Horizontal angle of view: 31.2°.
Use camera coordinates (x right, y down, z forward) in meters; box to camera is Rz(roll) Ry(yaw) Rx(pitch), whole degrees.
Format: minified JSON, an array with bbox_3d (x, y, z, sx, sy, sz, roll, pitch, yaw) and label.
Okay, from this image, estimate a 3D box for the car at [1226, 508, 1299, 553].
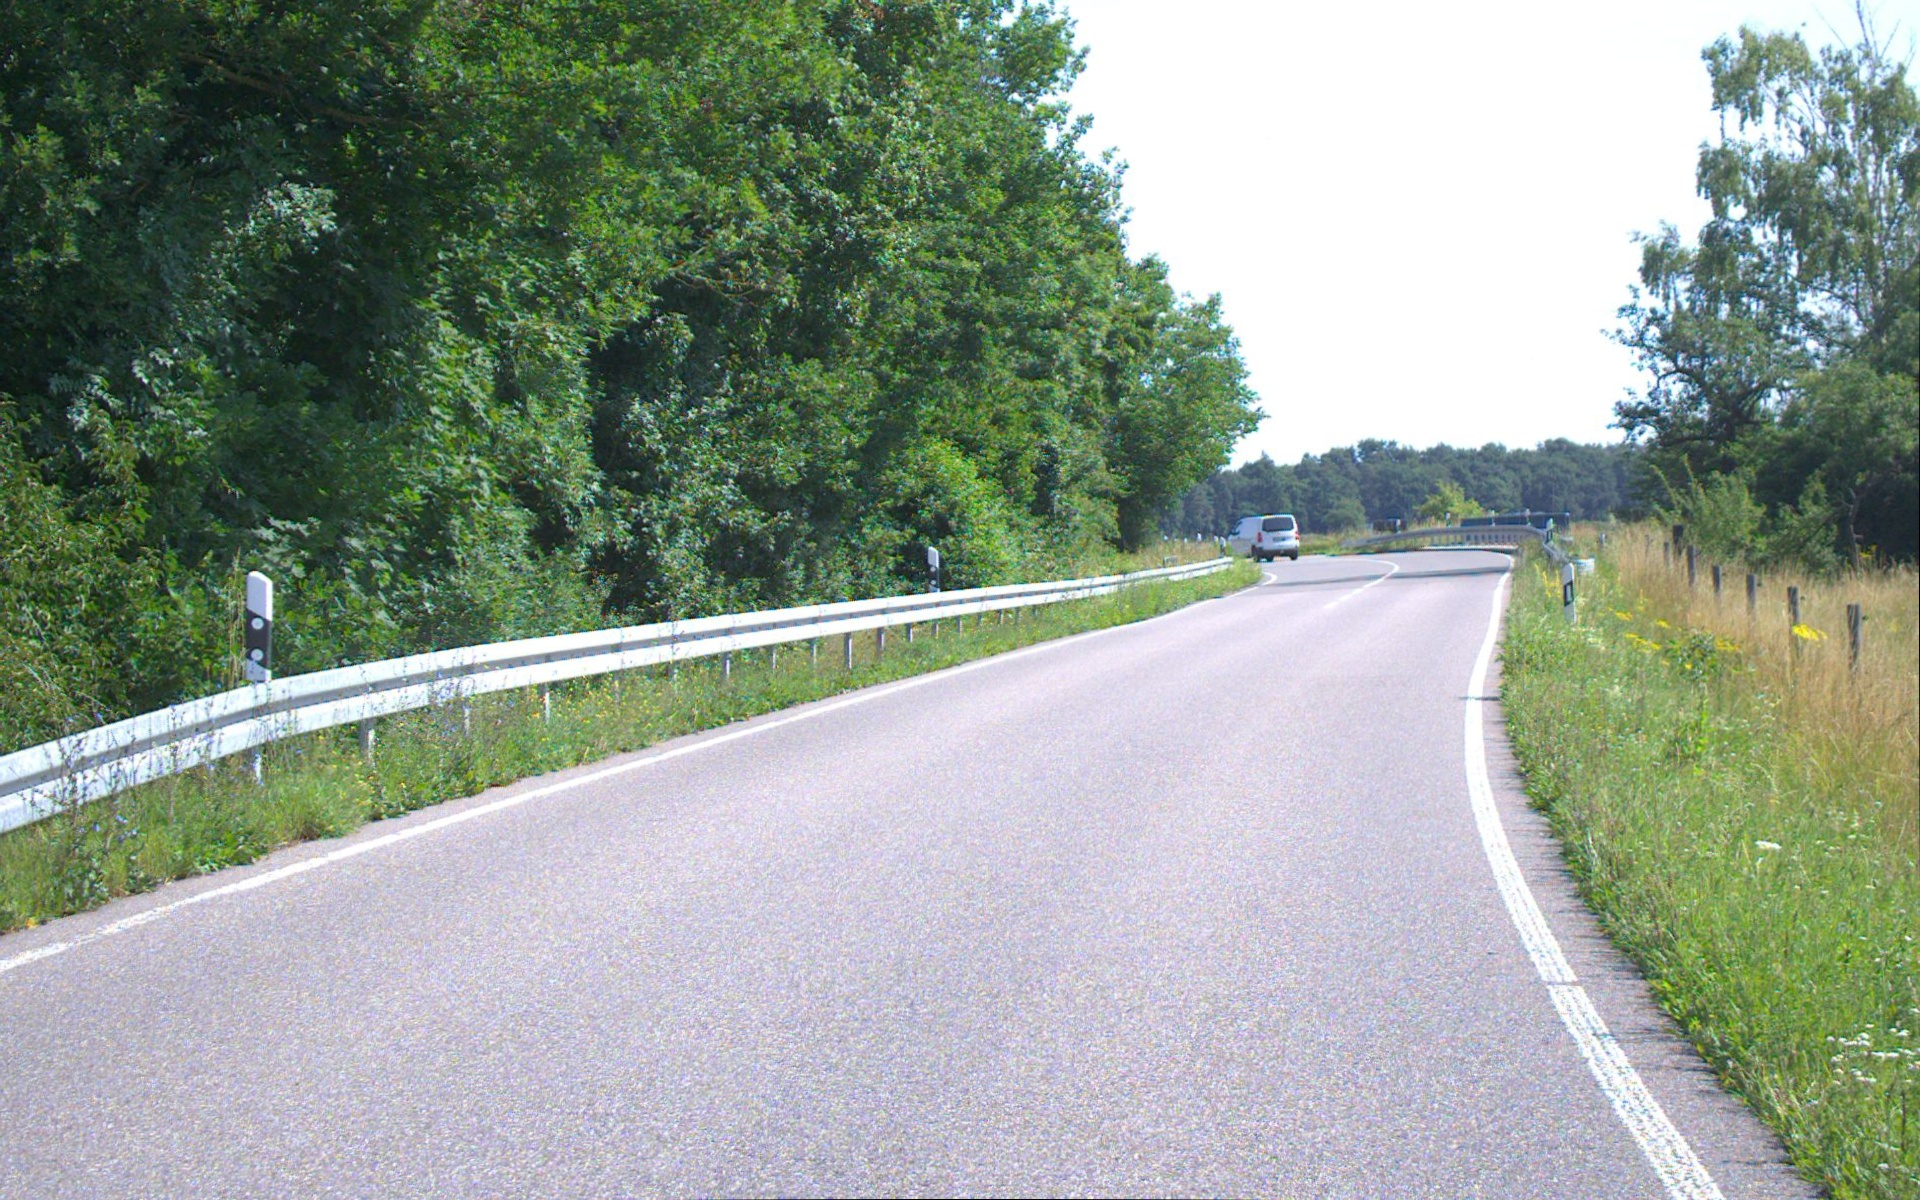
[{"bbox_3d":[12.757,-2.908,145.236,1.961,1.796,4.162,0,0,-12],"label":"car"}]
